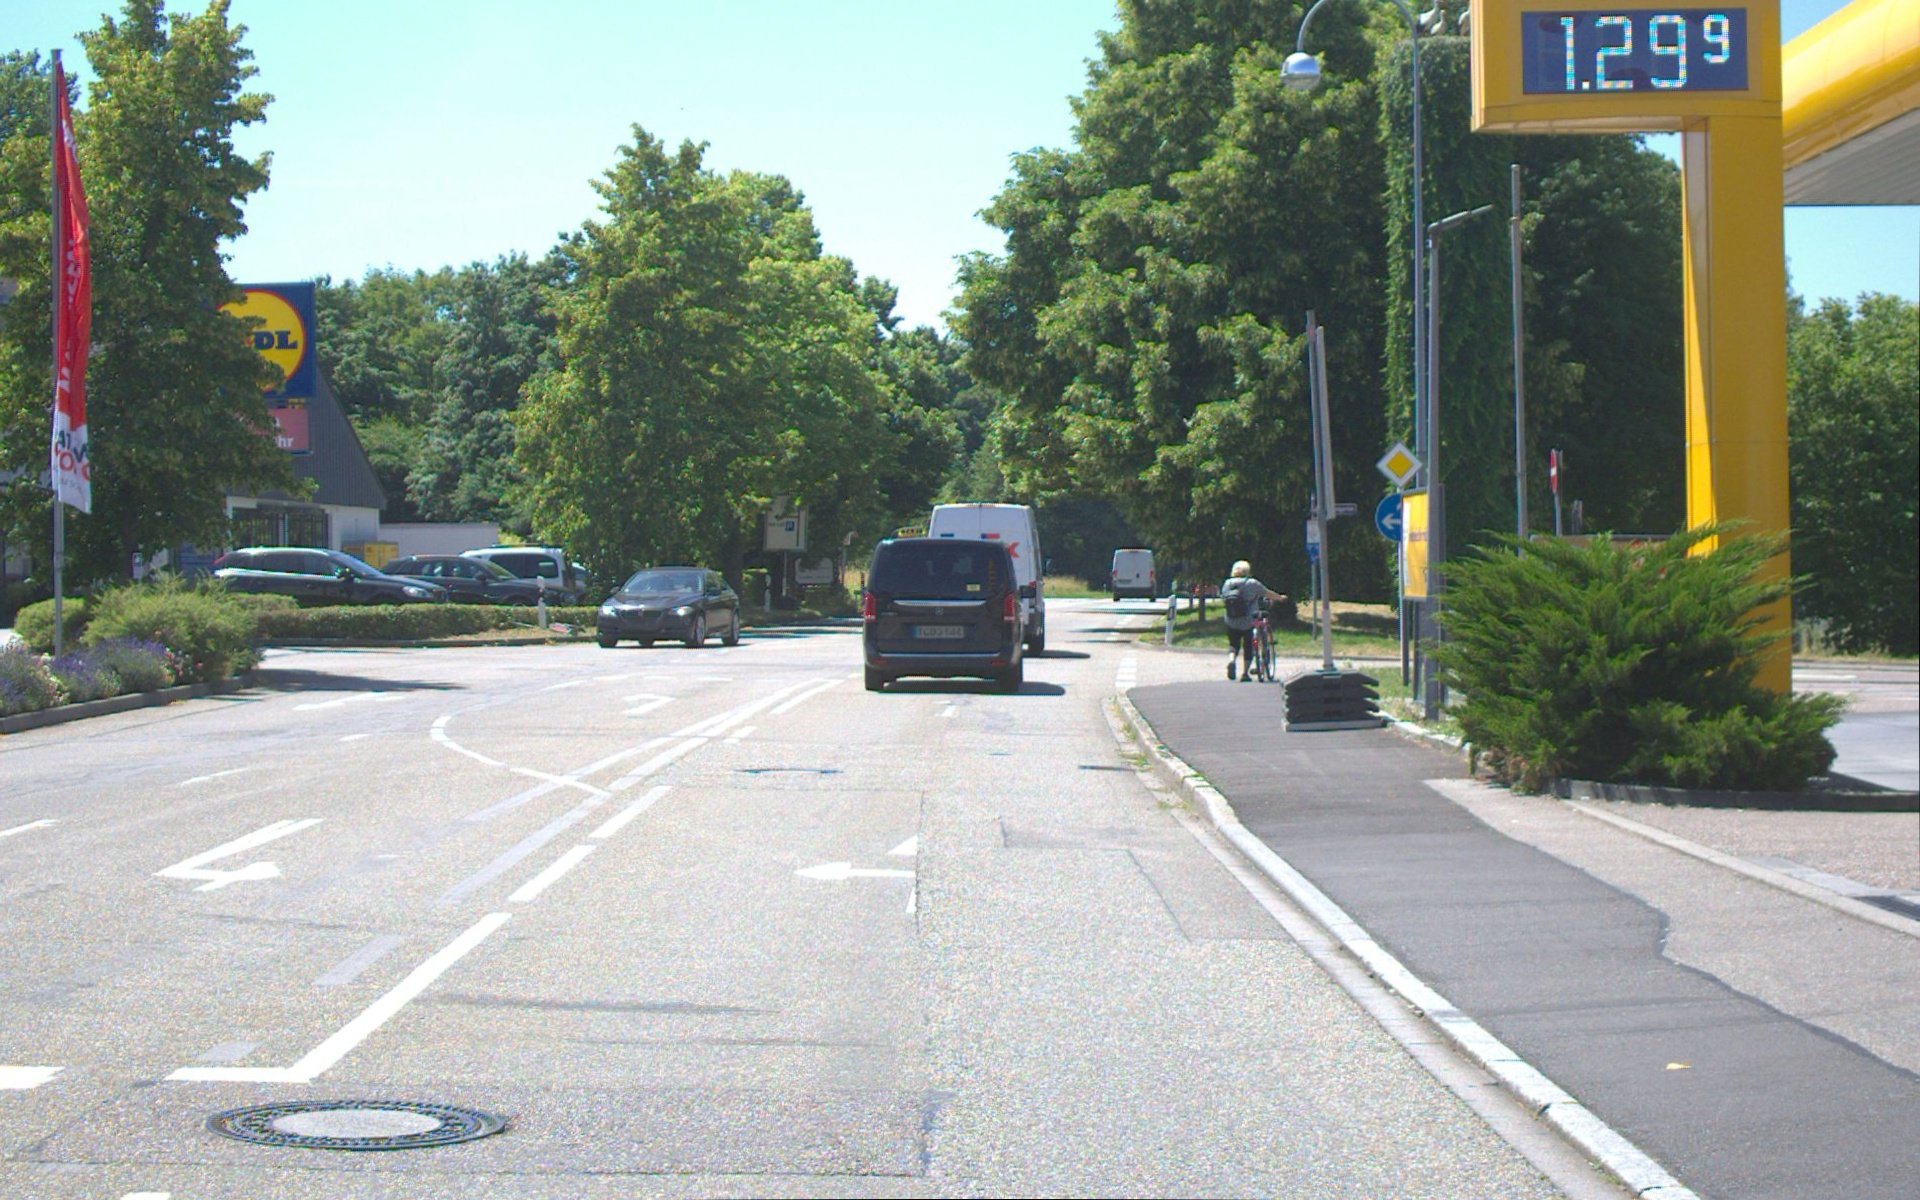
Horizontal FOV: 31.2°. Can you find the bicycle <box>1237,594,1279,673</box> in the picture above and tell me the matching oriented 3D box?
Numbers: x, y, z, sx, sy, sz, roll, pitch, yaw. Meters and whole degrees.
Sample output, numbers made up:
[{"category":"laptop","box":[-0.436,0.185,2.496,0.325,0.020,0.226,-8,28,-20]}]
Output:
[{"category":"bicycle","box":[3.556,0.390,40.963,0.378,0.909,1.597,1,0,9]}]

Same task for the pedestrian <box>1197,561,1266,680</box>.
[{"category":"pedestrian","box":[3.270,0.242,41.358,0.769,1.416,0.867,1,0,8]}]

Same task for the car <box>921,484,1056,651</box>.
[{"category":"car","box":[0.539,-0.543,59.245,2.078,2.693,4.666,2,0,2]}]

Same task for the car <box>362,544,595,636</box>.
[{"category":"car","box":[-10.061,-0.208,72.014,4.387,1.839,2.102,1,0,9]}]

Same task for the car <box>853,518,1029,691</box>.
[{"category":"car","box":[-0.232,0.045,42.795,1.993,1.946,5.005,2,0,0]}]

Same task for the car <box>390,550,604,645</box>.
[{"category":"car","box":[-10.037,-0.050,74.730,4.356,1.973,1.905,1,0,1]}]

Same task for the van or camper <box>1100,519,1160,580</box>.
[{"category":"van or camper","box":[8.456,-2.495,171.662,2.631,2.919,5.206,1,0,-1]}]

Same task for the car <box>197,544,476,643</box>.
[{"category":"car","box":[-11.672,-0.117,64.561,4.709,1.756,2.098,1,0,8]}]

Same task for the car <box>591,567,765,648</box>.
[{"category":"car","box":[-5.130,0.146,63.172,1.933,1.396,4.686,1,0,12]}]
